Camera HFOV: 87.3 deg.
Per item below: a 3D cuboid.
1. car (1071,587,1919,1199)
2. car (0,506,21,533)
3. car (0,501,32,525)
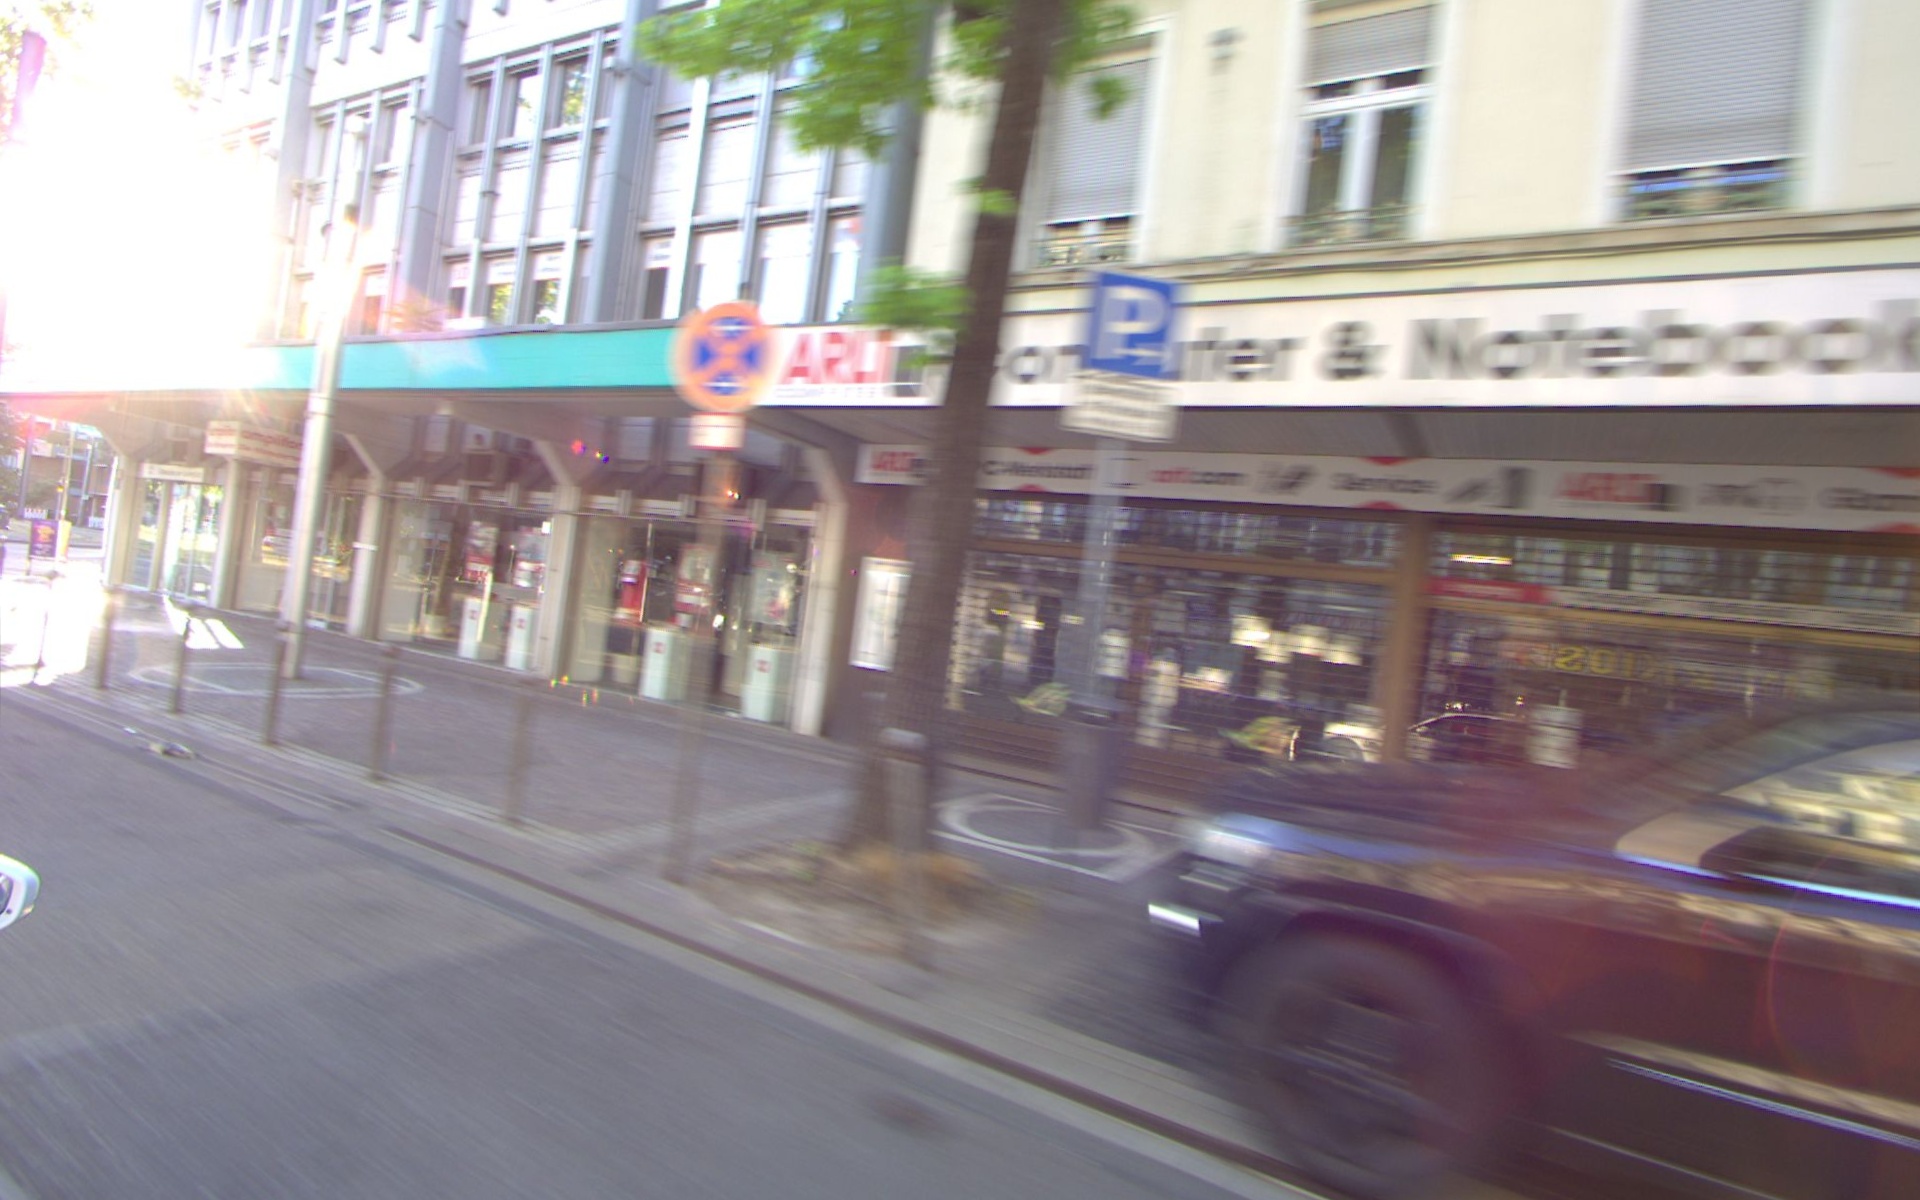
[{"bbox_3d":[2.921,1.109,3.127,4.601,1.782,1.939,7,2,31],"label":"car"},{"bbox_3d":[-79.909,-6.866,82.932,3.926,1.993,2.001,7,-1,21],"label":"car"},{"bbox_3d":[-78.891,-7.324,82.161,1.980,1.602,4.001,7,-2,26],"label":"car"}]
